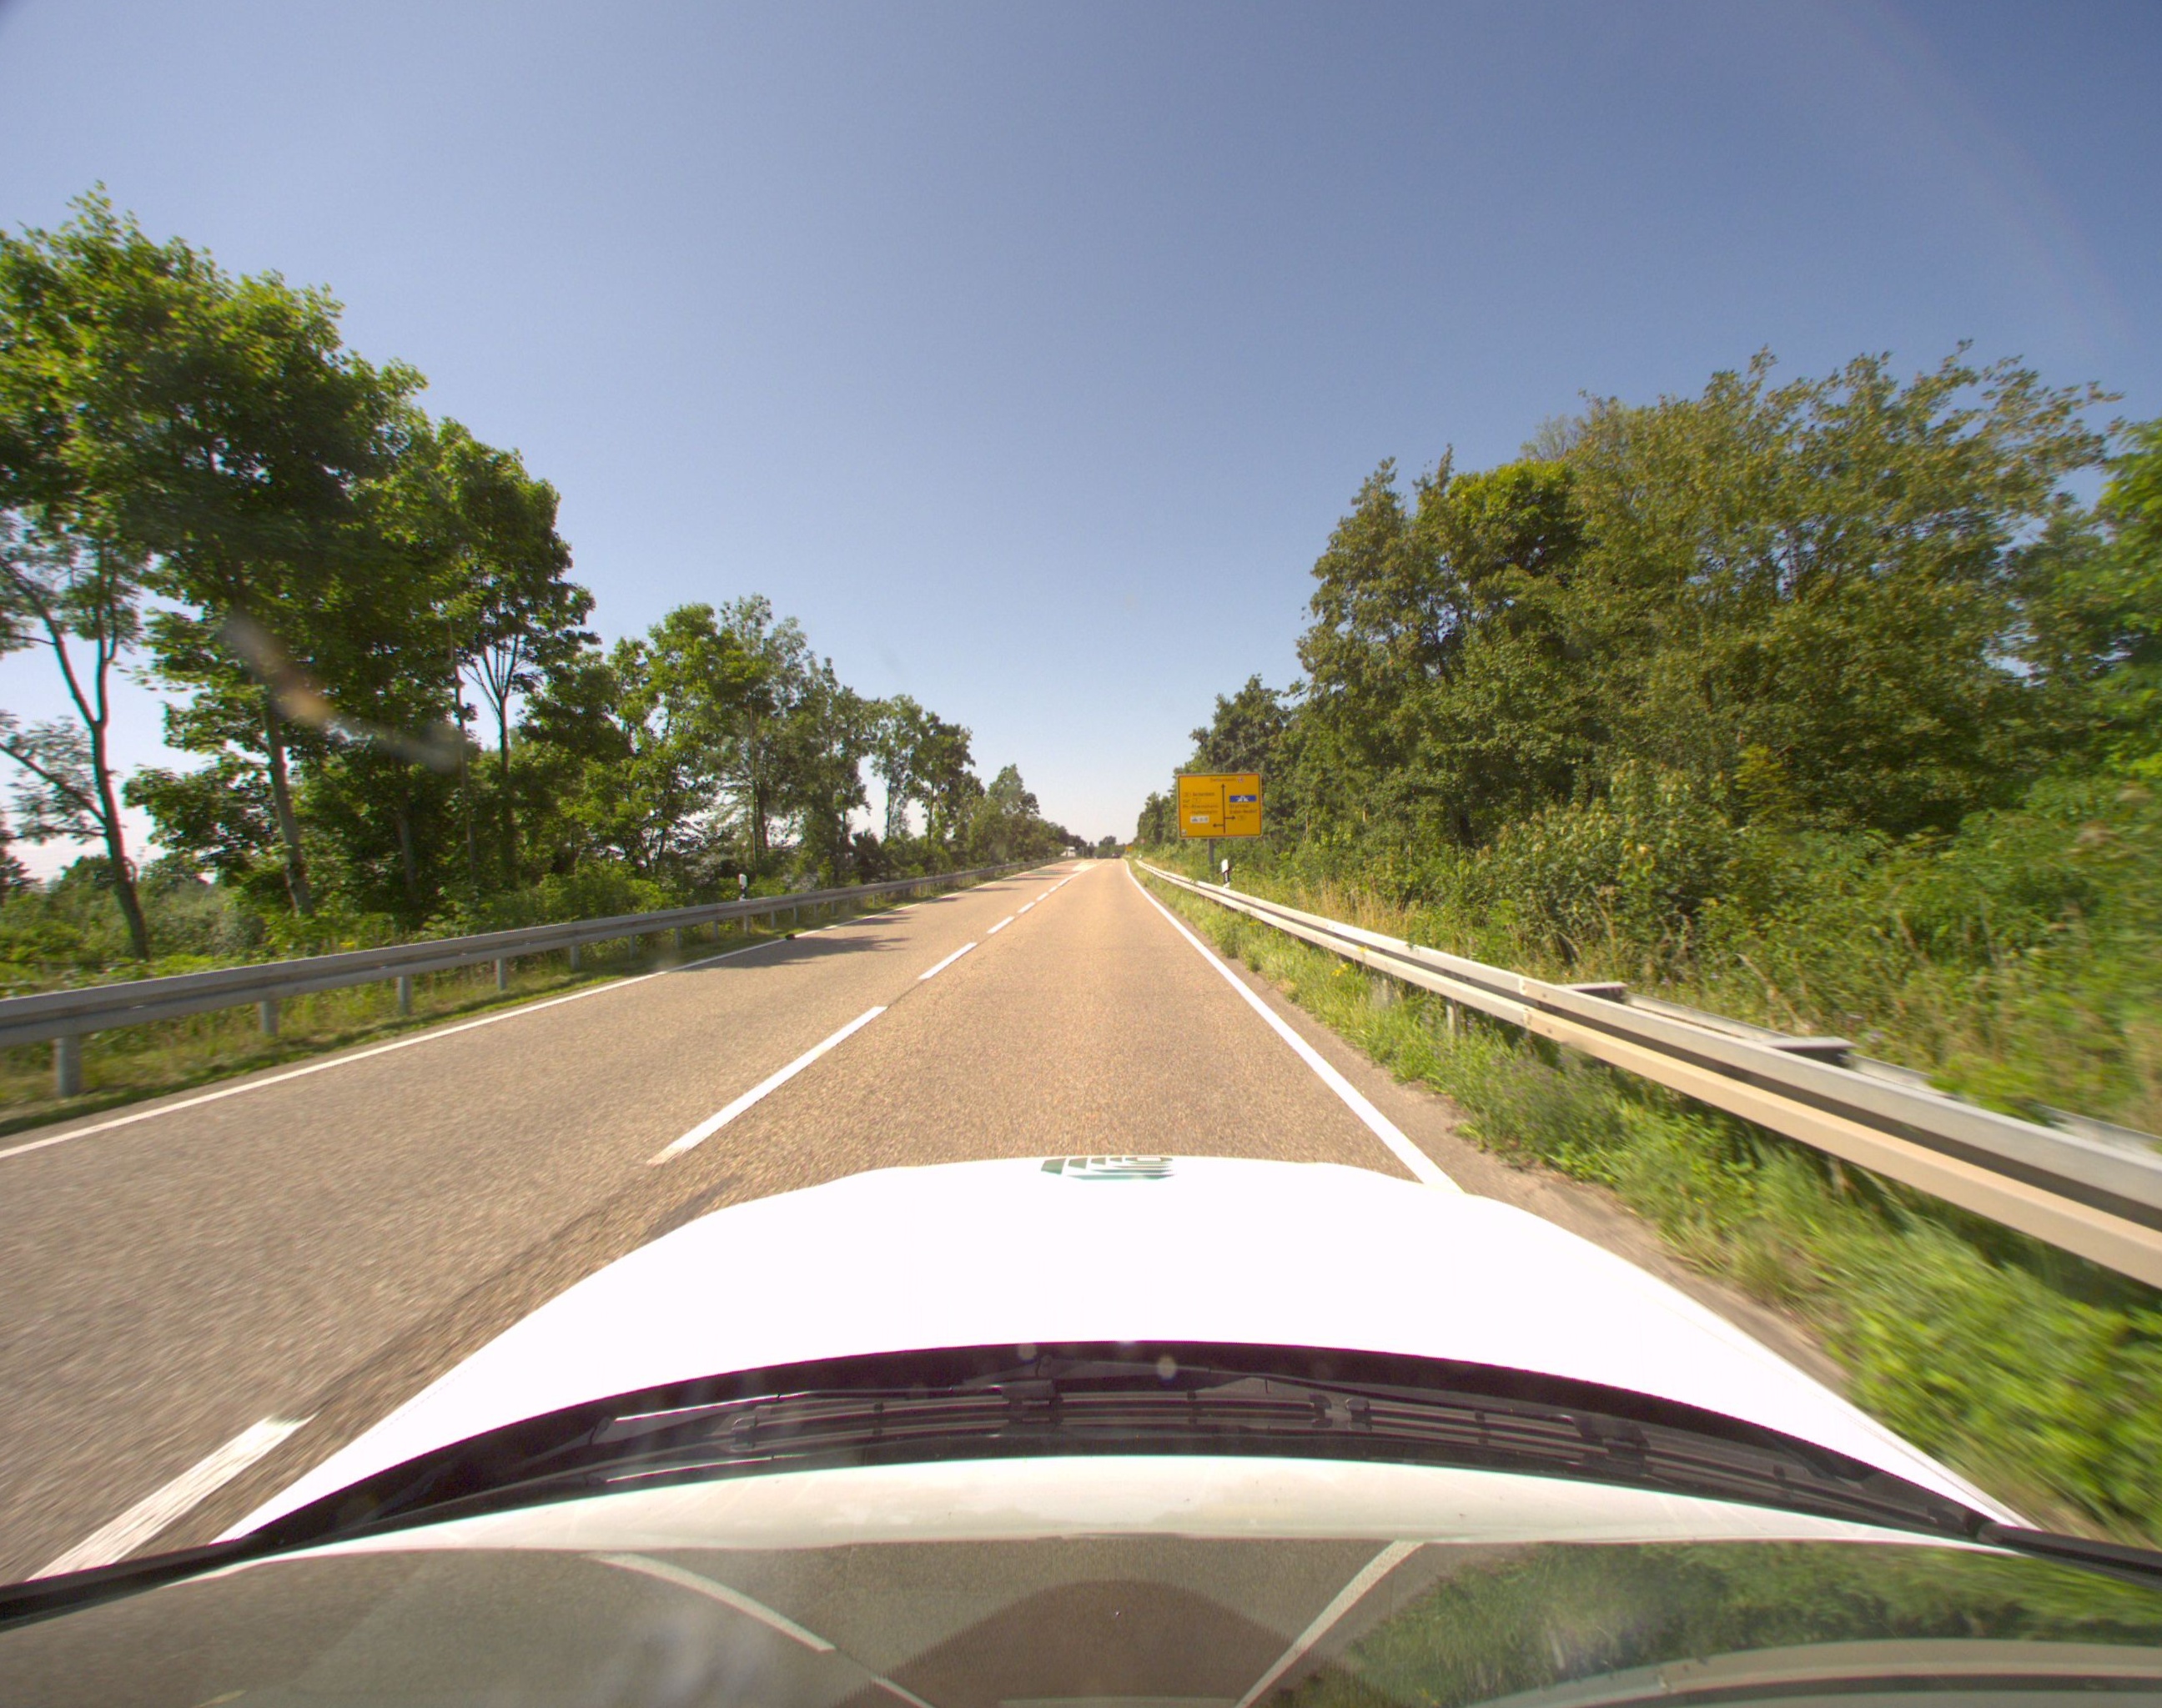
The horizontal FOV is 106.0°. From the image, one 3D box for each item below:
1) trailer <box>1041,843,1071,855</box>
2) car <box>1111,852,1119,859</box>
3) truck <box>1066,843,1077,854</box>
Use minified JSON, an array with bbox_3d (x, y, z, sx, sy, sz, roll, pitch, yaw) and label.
[{"bbox_3d":[-7.945,-1.541,257.185,9.062,3.578,2.002,-1,0,3],"label":"trailer"},{"bbox_3d":[8.186,0.317,195.900,1.734,1.470,3.695,-1,0,2],"label":"car"},{"bbox_3d":[-3.027,-1.667,256.882,3.450,3.537,2.002,-1,0,4],"label":"truck"}]
